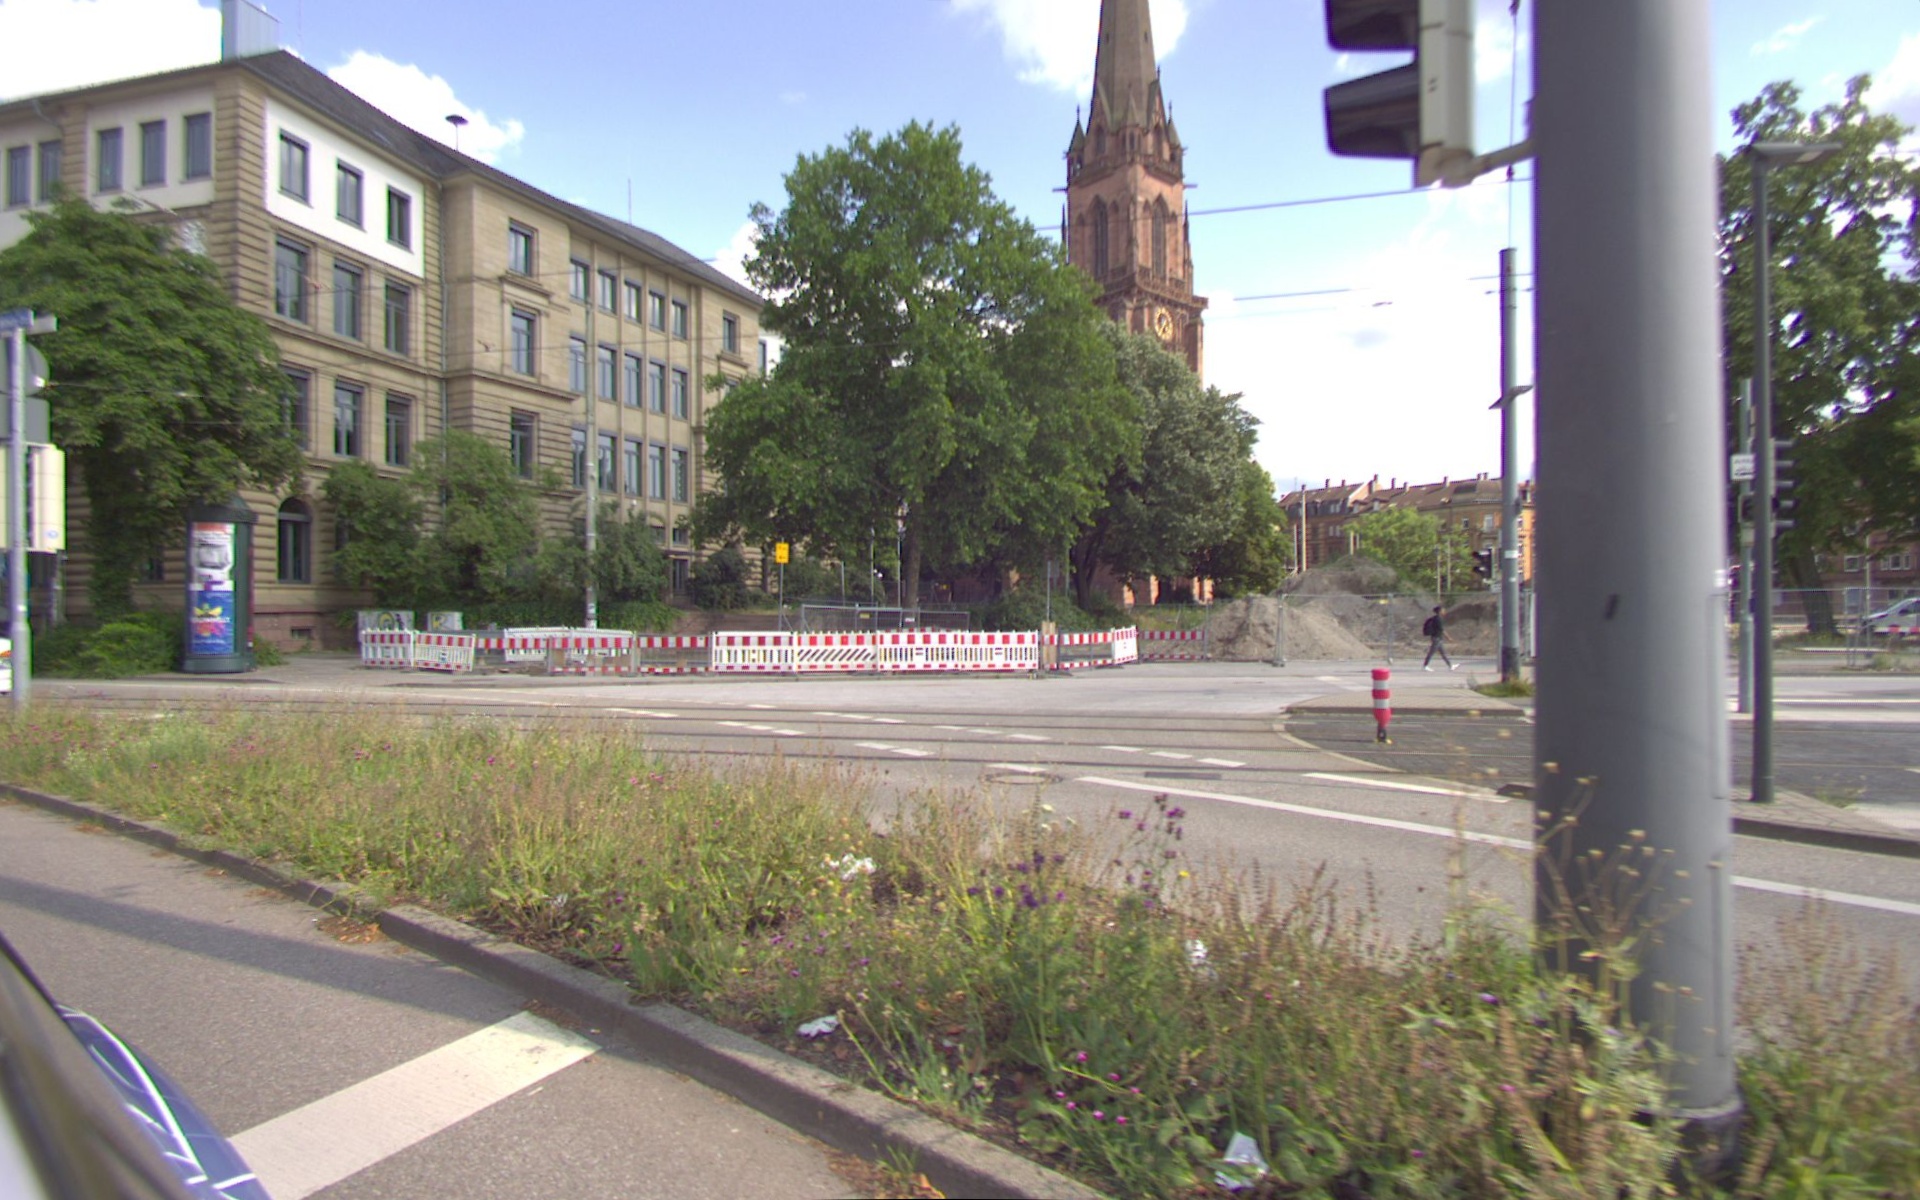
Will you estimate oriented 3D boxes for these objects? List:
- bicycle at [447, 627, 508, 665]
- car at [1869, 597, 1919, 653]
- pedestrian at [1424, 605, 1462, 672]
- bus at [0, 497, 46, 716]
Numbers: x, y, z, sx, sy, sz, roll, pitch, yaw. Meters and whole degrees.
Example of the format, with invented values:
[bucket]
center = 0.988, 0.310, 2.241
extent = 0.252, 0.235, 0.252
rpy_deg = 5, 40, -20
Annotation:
[bicycle]
center = -15.954, 1.505, 33.518
extent = 0.722, 1.177, 2.113
rpy_deg = 0, 0, 12
[car]
center = 43.372, 1.073, 44.572
extent = 4.604, 2.436, 2.040
rpy_deg = -1, -1, 31
[pedestrian]
center = 12.344, 0.981, 25.863
extent = 0.787, 1.665, 0.574
rpy_deg = -1, -2, 32
[bus]
center = -20.757, 0.141, 16.077
extent = 12.083, 3.353, 2.915
rpy_deg = 0, 0, 13
